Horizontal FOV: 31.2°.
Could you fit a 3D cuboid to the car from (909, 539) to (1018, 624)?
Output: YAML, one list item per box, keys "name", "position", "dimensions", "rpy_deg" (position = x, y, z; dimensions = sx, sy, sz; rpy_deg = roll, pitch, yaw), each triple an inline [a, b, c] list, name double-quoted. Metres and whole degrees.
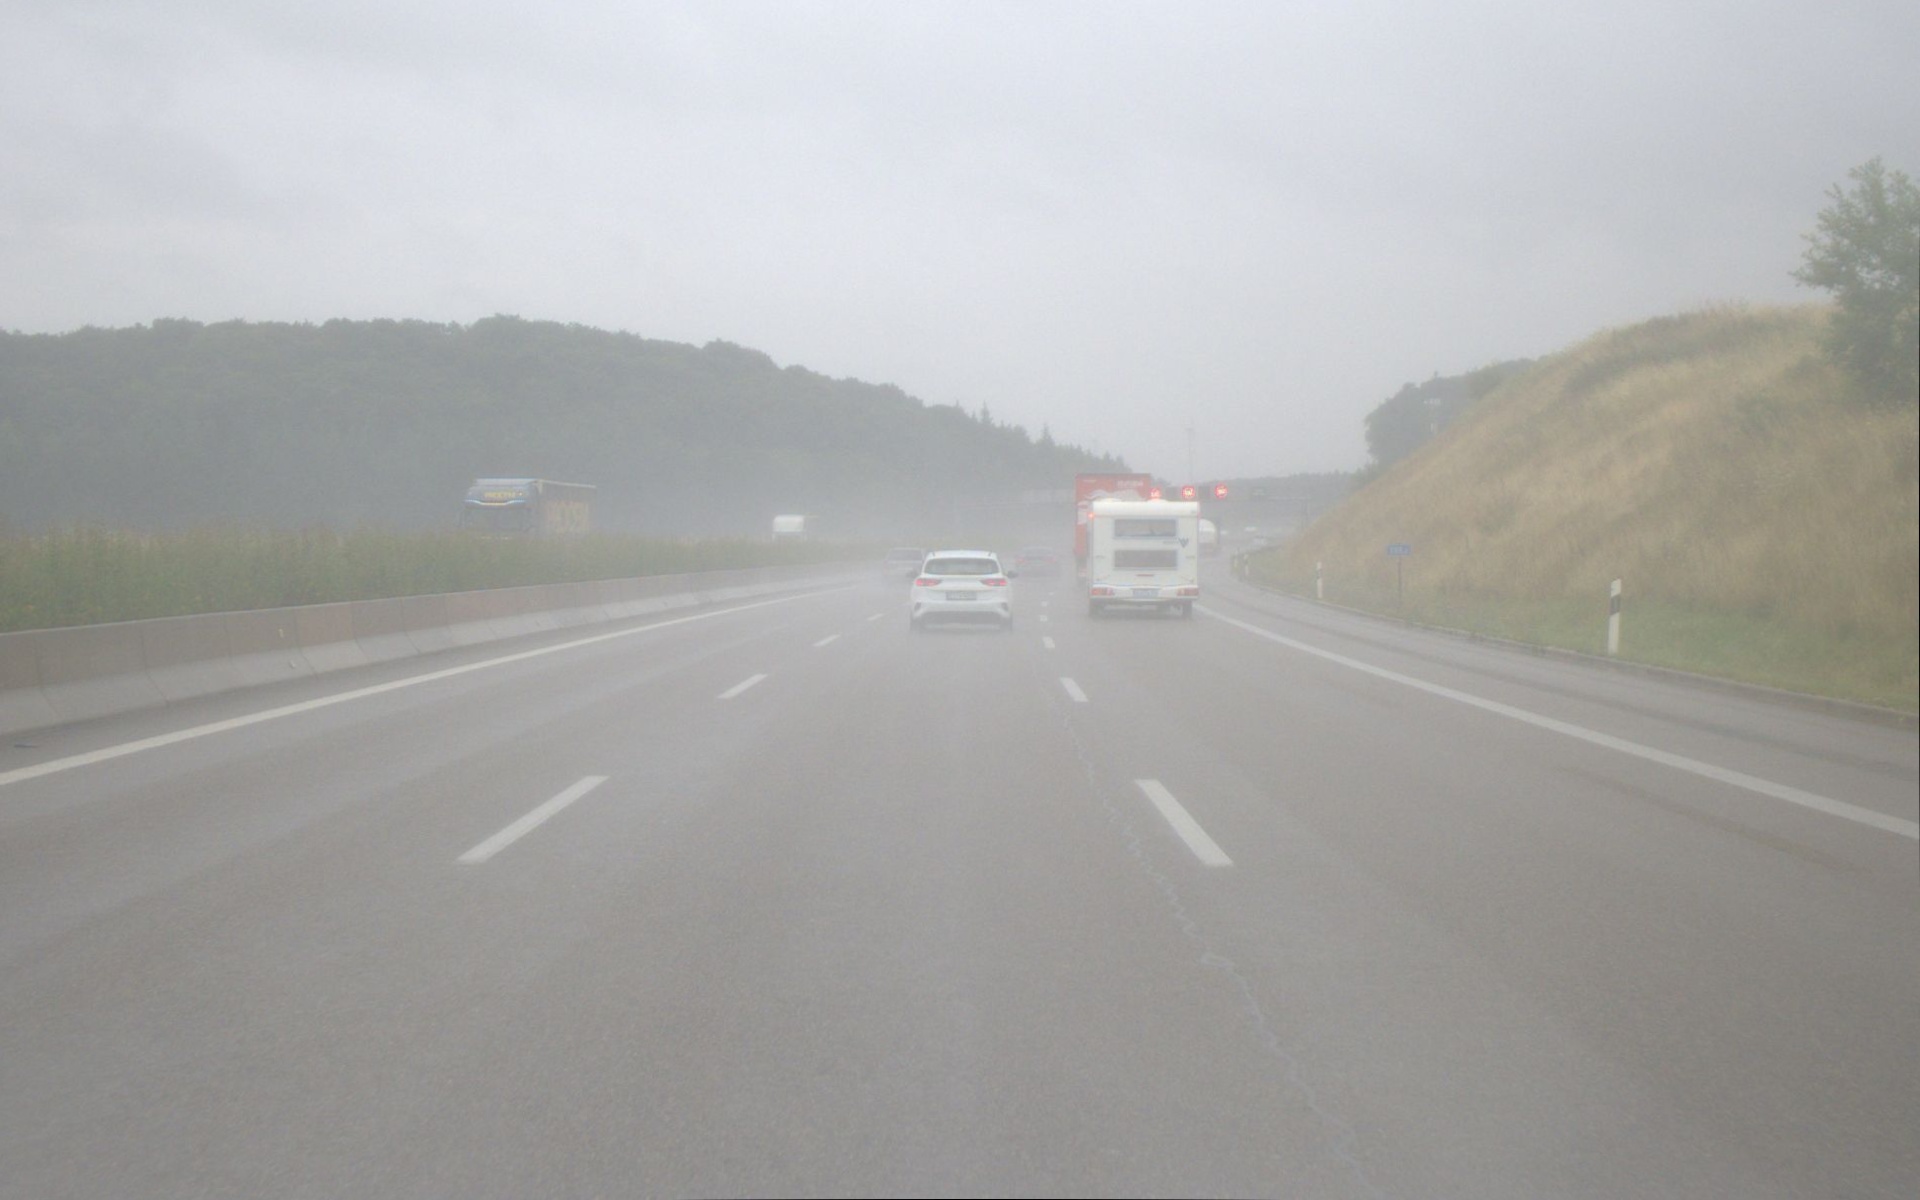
- name: "car"
  position: [0.049, -0.328, 61.095]
  dimensions: [1.867, 1.458, 4.000]
  rpy_deg: [0, 0, 0]

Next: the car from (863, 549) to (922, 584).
- name: "car"
  position: [-2.339, -1.146, 118.717]
  dimensions: [1.823, 1.152, 4.213]
  rpy_deg: [1, 0, -4]

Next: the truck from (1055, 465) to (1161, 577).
- name: "truck"
  position: [5.228, -2.839, 122.180]
  dimensions: [3.527, 3.730, 11.426]
  rpy_deg: [1, 2, 2]

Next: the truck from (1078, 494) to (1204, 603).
- name: "truck"
  position: [3.835, -1.104, 73.678]
  dimensions: [2.408, 2.244, 4.693]
  rpy_deg: [0, 1, -1]
